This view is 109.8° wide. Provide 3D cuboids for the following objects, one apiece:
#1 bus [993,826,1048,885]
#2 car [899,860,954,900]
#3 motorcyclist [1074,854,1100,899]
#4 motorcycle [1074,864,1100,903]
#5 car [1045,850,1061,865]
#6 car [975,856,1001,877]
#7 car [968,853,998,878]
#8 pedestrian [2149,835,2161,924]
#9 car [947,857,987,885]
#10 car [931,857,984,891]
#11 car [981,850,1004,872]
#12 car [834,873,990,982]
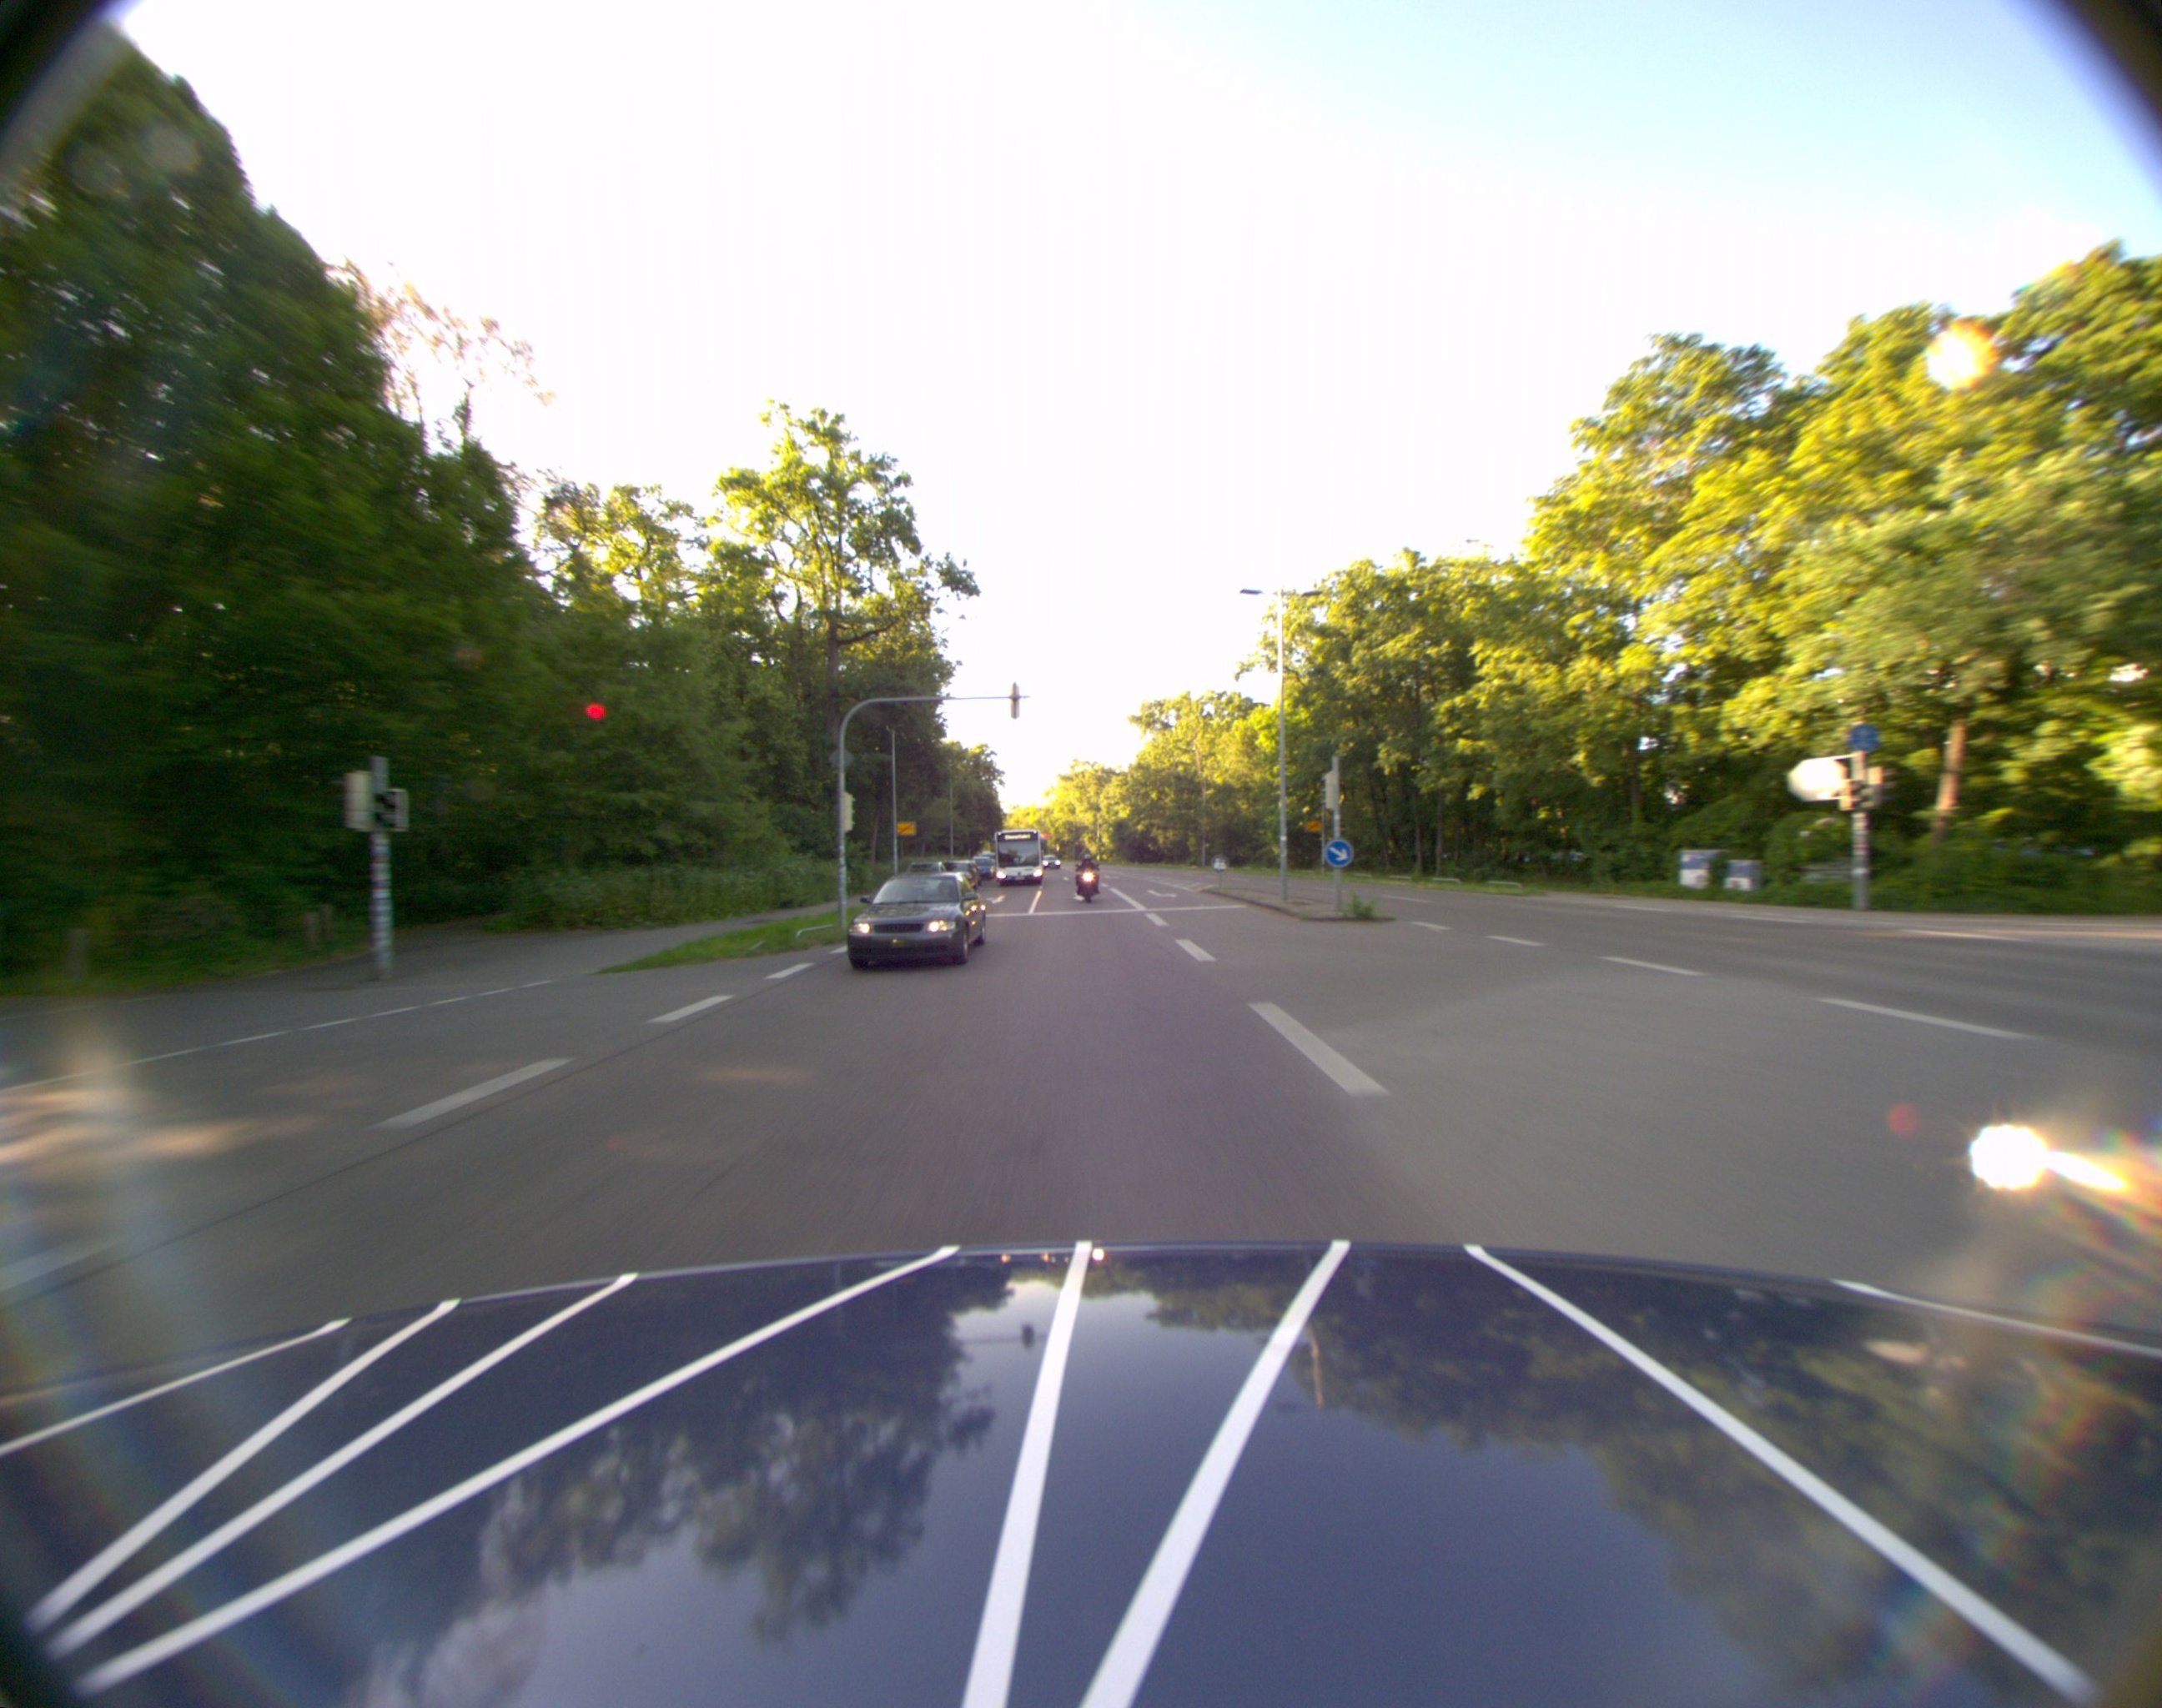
[{"bbox_3d":[-3.520,0.074,46.951,2.813,3.030,12.882,-2,0,-2],"label":"bus"},{"bbox_3d":[-6.301,1.015,31.401,1.723,1.460,3.871,0,1,-4],"label":"car"},{"bbox_3d":[0.206,0.752,25.989,0.830,1.484,1.024,-1,1,1],"label":"motorcyclist"},{"bbox_3d":[0.222,0.974,25.996,0.830,1.212,2.604,-1,0,1],"label":"motorcycle"},{"bbox_3d":[-3.053,0.332,83.039,1.679,1.552,3.993,-2,0,-3],"label":"car"},{"bbox_3d":[-7.211,0.957,59.311,1.820,1.470,3.827,-2,1,-5],"label":"car"},{"bbox_3d":[-6.922,0.794,53.911,1.820,1.624,3.827,0,1,-4],"label":"car"},{"bbox_3d":[20.865,0.486,14.199,0.649,1.701,0.819,-1,1,-1],"label":"pedestrian"},{"bbox_3d":[-6.426,0.929,43.108,1.676,1.396,4.230,0,1,-1],"label":"car"},{"bbox_3d":[-5.940,0.925,37.111,1.766,1.460,5.115,0,1,-1],"label":"car"},{"bbox_3d":[-7.996,0.594,68.846,1.820,1.910,5.264,-2,1,-5],"label":"car"},{"bbox_3d":[-2.581,1.069,12.548,1.679,1.351,3.993,-2,0,-1],"label":"car"}]
